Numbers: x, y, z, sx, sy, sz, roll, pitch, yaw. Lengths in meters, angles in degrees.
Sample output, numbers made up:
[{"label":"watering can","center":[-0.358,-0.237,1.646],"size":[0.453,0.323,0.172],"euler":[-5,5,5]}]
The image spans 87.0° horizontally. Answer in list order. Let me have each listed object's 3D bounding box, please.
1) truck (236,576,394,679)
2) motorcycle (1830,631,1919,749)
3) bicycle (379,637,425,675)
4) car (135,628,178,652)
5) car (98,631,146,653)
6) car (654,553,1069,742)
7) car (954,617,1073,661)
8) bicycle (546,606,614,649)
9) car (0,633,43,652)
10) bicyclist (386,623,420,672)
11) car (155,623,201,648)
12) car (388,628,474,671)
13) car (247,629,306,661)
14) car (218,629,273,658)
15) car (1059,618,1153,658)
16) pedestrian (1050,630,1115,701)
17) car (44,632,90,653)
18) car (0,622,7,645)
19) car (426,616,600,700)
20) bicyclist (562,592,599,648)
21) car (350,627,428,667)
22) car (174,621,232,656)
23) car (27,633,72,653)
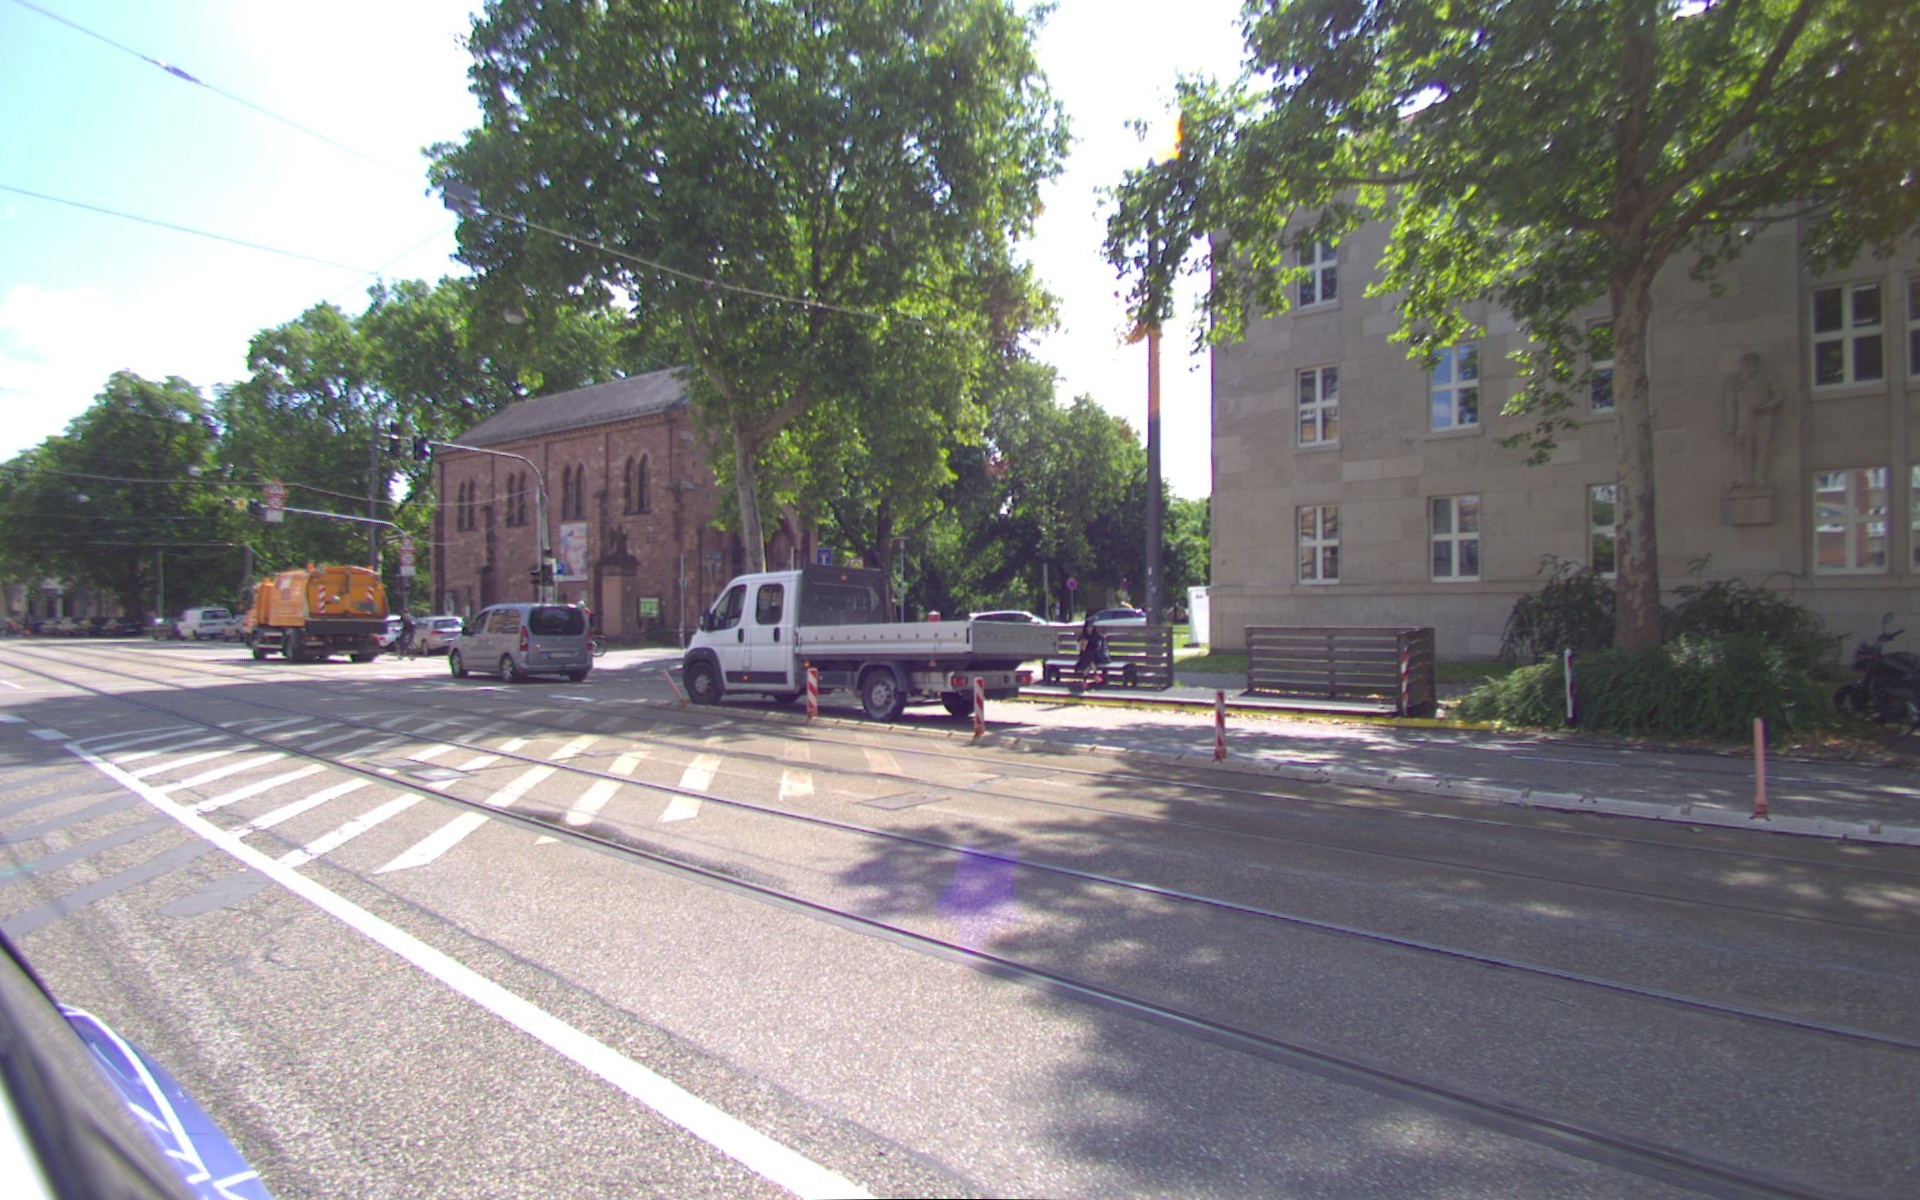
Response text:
[{"label":"truck","center":[-21.937,0.921,34.260],"size":[7.221,3.130,2.611],"euler":[-1,-3,42]},{"label":"motorcycle","center":[10.842,1.029,11.255],"size":[0.537,1.184,2.105],"euler":[-5,2,3]},{"label":"bicycle","center":[-19.711,1.959,35.714],"size":[2.217,1.300,0.697],"euler":[-1,-1,41]},{"label":"car","center":[-55.820,2.781,70.265],"size":[3.999,1.508,1.738],"euler":[-1,0,42]},{"label":"car","center":[-61.797,3.087,74.618],"size":[3.991,1.508,1.741],"euler":[-1,0,35]},{"label":"car","center":[-1.825,0.764,15.923],"size":[6.973,2.392,2.233],"euler":[-3,-4,39]},{"label":"car","center":[2.078,1.475,38.699],"size":[4.364,1.620,1.755],"euler":[0,-1,12]},{"label":"bicycle","center":[-12.438,0.878,33.199],"size":[0.670,1.299,2.065],"euler":[-1,1,34]},{"label":"car","center":[-80.794,3.639,86.840],"size":[3.978,1.508,1.747],"euler":[-1,0,26]},{"label":"bicyclist","center":[-19.627,1.670,35.657],"size":[1.175,1.699,0.694],"euler":[-1,-1,41]},{"label":"car","center":[-51.209,2.278,66.237],"size":[3.999,1.508,1.738],"euler":[-1,0,42]},{"label":"car","center":[-20.909,1.922,39.958],"size":[3.999,1.508,1.738],"euler":[-1,0,42]},{"label":"car","center":[-36.360,2.371,53.799],"size":[3.999,1.508,1.738],"euler":[-1,0,42]},{"label":"car","center":[-40.459,2.419,57.263],"size":[3.999,1.508,1.738],"euler":[-1,0,42]},{"label":"car","center":[6.274,1.618,43.665],"size":[3.953,1.706,1.757],"euler":[0,-1,8]},{"label":"pedestrian","center":[2.323,1.223,19.236],"size":[0.913,1.221,0.747],"euler":[-1,4,44]},{"label":"car","center":[-71.059,3.383,80.553],"size":[3.988,1.508,1.743],"euler":[-1,0,33]},{"label":"car","center":[-92.398,3.197,95.440],"size":[3.960,2.201,1.755],"euler":[-1,0,13]},{"label":"car","center":[-10.444,1.279,23.480],"size":[4.535,1.759,1.900],"euler":[-1,-3,41]},{"label":"bicyclist","center":[-12.438,0.644,33.211],"size":[0.660,1.797,0.875],"euler":[-1,1,34]},{"label":"car","center":[-24.313,1.961,43.039],"size":[3.999,1.508,1.738],"euler":[-1,0,42]},{"label":"car","center":[-47.266,2.348,63.144],"size":[4.081,2.019,1.968],"euler":[-1,0,39]},{"label":"car","center":[-74.702,3.489,82.988],"size":[3.987,1.508,1.743],"euler":[-1,0,32]}]
